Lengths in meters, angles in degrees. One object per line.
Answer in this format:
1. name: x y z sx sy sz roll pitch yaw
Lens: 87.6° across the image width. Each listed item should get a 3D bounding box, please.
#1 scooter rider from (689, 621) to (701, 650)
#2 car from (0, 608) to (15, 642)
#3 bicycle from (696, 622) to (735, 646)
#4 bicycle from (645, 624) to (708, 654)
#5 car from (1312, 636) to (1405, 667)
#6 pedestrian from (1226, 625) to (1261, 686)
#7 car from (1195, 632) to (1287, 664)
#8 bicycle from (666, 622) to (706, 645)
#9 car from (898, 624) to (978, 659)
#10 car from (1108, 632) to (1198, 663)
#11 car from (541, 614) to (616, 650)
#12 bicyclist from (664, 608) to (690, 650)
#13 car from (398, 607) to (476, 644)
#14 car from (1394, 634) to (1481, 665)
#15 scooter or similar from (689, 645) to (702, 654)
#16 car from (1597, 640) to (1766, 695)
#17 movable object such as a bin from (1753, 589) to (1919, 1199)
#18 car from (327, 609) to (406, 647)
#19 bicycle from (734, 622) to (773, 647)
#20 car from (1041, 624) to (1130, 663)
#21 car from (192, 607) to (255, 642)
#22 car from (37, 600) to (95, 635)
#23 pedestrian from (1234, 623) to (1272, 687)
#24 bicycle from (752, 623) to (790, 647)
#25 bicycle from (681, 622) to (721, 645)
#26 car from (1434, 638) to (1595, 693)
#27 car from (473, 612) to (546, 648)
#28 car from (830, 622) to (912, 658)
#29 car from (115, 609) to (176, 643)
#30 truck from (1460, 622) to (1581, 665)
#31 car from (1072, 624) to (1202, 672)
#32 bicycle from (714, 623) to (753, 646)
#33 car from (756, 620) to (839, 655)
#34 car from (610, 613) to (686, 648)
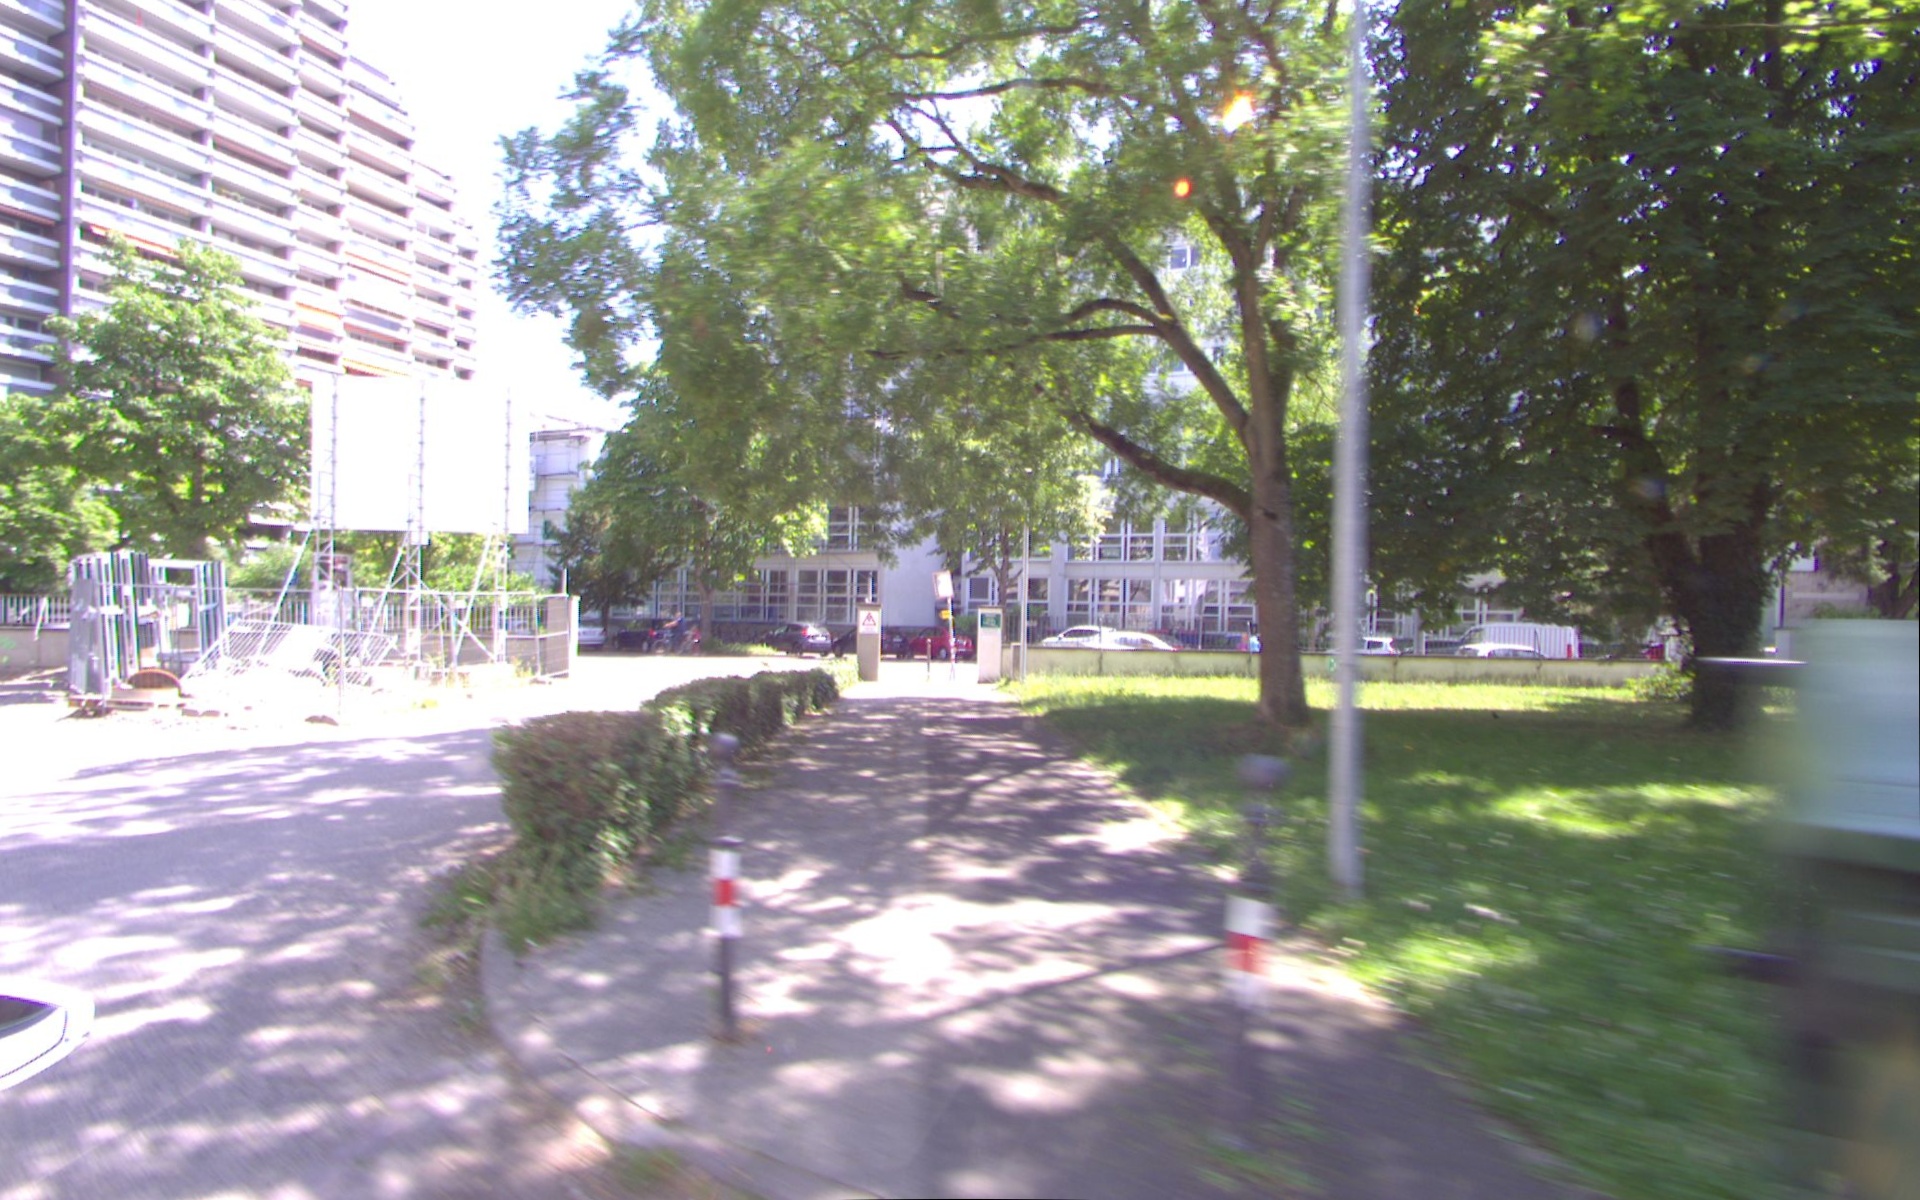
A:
1. scooter rider: -10.618 1.406 40.183 0.409 1.149 0.359 1 0 -7
2. car: -40.294 1.009 41.420 1.623 1.405 3.640 2 -1 -45
3. bicycle: -12.638 1.747 51.832 0.769 1.172 2.380 1 -1 20
4. bicycle: -11.513 1.566 40.726 2.394 1.167 0.786 1 0 -8
5. car: 18.310 2.328 46.059 3.696 1.307 1.602 0 -1 37
6. pedestrian: 7.635 1.497 27.013 0.718 1.609 0.741 1 -3 -1
7. car: 12.543 2.124 44.828 1.597 1.322 3.708 2 -1 -44
8. bicycle: -14.308 1.730 52.432 0.769 1.172 2.380 1 -1 20
9. car: -1.005 1.825 44.877 1.597 1.455 3.566 2 -1 -45
10. car: 8.671 2.107 45.144 1.597 1.297 3.707 2 -2 -45
11. car: -16.684 1.373 43.722 3.639 1.482 1.624 0 -1 44
12. bicyclist: -11.497 1.173 40.748 0.883 1.687 0.858 1 -1 -7
13. car: -22.119 1.074 42.310 3.633 1.482 1.627 0 -1 39
14. car: 21.868 2.232 45.887 3.324 1.307 1.523 0 -1 39
15. scooter or similar: -10.619 1.982 40.174 0.438 0.363 0.365 1 -1 -7
16. car: 21.450 1.984 29.864 3.861 1.483 1.706 1 -1 -3
17. movable object such as a bin: 1.613 0.747 0.927 1.315 1.488 1.175 0 -2 36
18. car: -24.045 1.113 40.534 3.633 1.482 1.627 0 -1 39
19. bicycle: -10.529 1.764 51.152 0.769 1.203 2.428 1 -1 20
20. car: 5.611 1.916 44.957 3.699 1.641 1.601 0 -1 39
21. car: -31.283 1.022 42.486 1.623 1.405 3.640 2 -1 -45
22. car: -37.950 0.744 42.484 1.623 1.405 3.640 2 -1 -45
23. pedestrian: 7.549 1.429 25.823 0.718 1.609 0.741 1 -3 -3
24. bicycle: -9.577 1.769 50.778 0.769 1.203 2.428 1 -1 20
25. bicycle: -13.440 1.748 52.079 0.769 1.172 2.380 1 -1 20
26. car: 16.421 1.933 29.764 3.861 1.483 1.706 1 -1 -3
27. car: -19.457 1.291 43.180 3.639 1.482 1.624 0 -1 44
28. car: -3.980 1.755 44.493 3.636 1.464 1.599 0 -1 42
29. car: -34.623 1.086 42.540 1.623 1.405 3.640 2 -1 -45
30. truck: 25.435 1.953 45.542 4.589 1.856 1.644 -1 -2 40
31. car: 5.984 1.621 34.195 4.064 1.483 1.765 1 -1 -3
32. bicycle: -11.649 1.769 51.555 0.769 1.172 2.380 1 -1 20
33. car: -7.226 1.652 44.515 3.632 1.482 1.633 0 -1 39
34. car: -13.706 1.322 43.929 3.639 1.482 1.624 0 -1 44
